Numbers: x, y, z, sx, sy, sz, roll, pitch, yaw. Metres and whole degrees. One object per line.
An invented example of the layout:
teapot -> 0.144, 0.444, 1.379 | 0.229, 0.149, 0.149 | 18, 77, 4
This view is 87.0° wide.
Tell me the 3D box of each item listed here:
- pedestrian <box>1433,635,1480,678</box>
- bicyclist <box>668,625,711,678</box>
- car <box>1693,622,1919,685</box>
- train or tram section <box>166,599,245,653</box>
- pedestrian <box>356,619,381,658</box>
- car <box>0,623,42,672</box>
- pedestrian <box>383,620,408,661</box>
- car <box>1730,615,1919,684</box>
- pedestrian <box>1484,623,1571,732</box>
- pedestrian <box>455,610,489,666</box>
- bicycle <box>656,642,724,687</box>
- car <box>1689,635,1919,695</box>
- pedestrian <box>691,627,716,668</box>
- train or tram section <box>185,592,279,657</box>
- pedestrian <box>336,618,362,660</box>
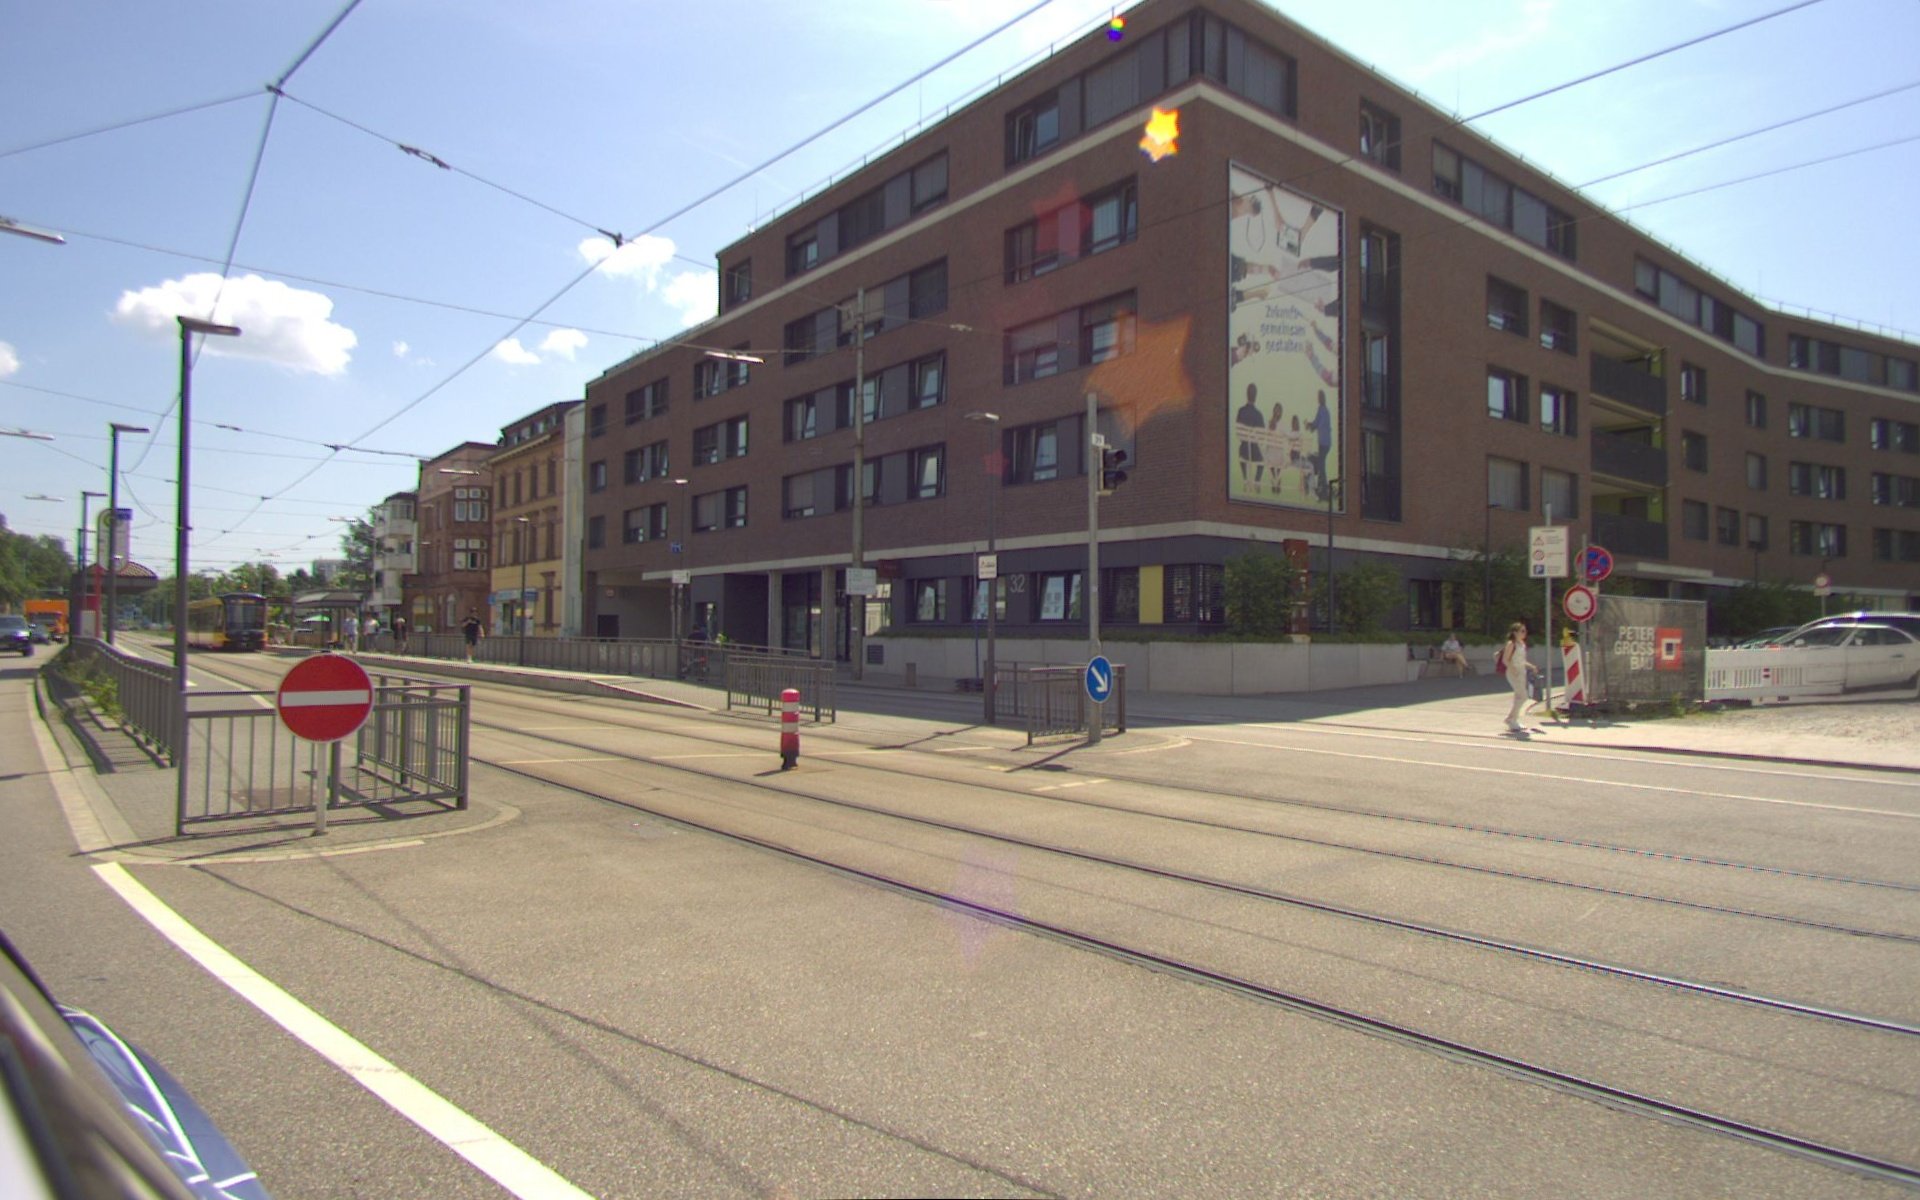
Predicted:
pedestrian -> 13.402, 1.516, 27.333 | 0.749, 1.139, 0.928 | 0, -2, -3
bicyclist -> -7.802, 1.471, 29.181 | 1.065, 1.516, 0.750 | -2, -3, 43
car -> 20.801, 1.271, 25.024 | 1.648, 1.431, 4.009 | 1, -2, -37
train or tram section -> -57.719, 1.992, 77.048 | 3.210, 3.594, 20.530 | 3, -3, -41
pedestrian -> -26.129, 1.722, 44.725 | 0.751, 1.708, 0.810 | 3, -3, -42
car -> -40.871, 2.014, 43.426 | 1.968, 2.029, 4.006 | 2, -3, -40
pedestrian -> -22.450, 1.596, 40.263 | 0.677, 1.608, 0.762 | 3, -3, -42
car -> 23.148, 1.245, 26.109 | 2.088, 1.663, 4.847 | 2, -2, -38
pedestrian -> 8.890, 1.186, 15.866 | 1.000, 1.608, 0.751 | -2, 1, 44
pedestrian -> -15.887, 1.246, 32.930 | 0.677, 1.773, 1.035 | 3, -3, -42
bicycle -> -7.799, 1.838, 29.161 | 0.807, 1.232, 2.390 | 3, -4, -45
car -> 19.160, 1.406, 22.830 | 1.796, 1.170, 4.013 | -1, -1, -27
pedestrian -> -10.322, 1.913, 40.749 | 0.677, 1.608, 0.762 | 3, -3, -42
train or tram section -> -45.705, 1.535, 63.234 | 3.195, 3.594, 16.372 | 3, -3, -41
pedestrian -> -26.960, 1.733, 44.656 | 0.751, 1.813, 0.953 | 3, -3, -42
